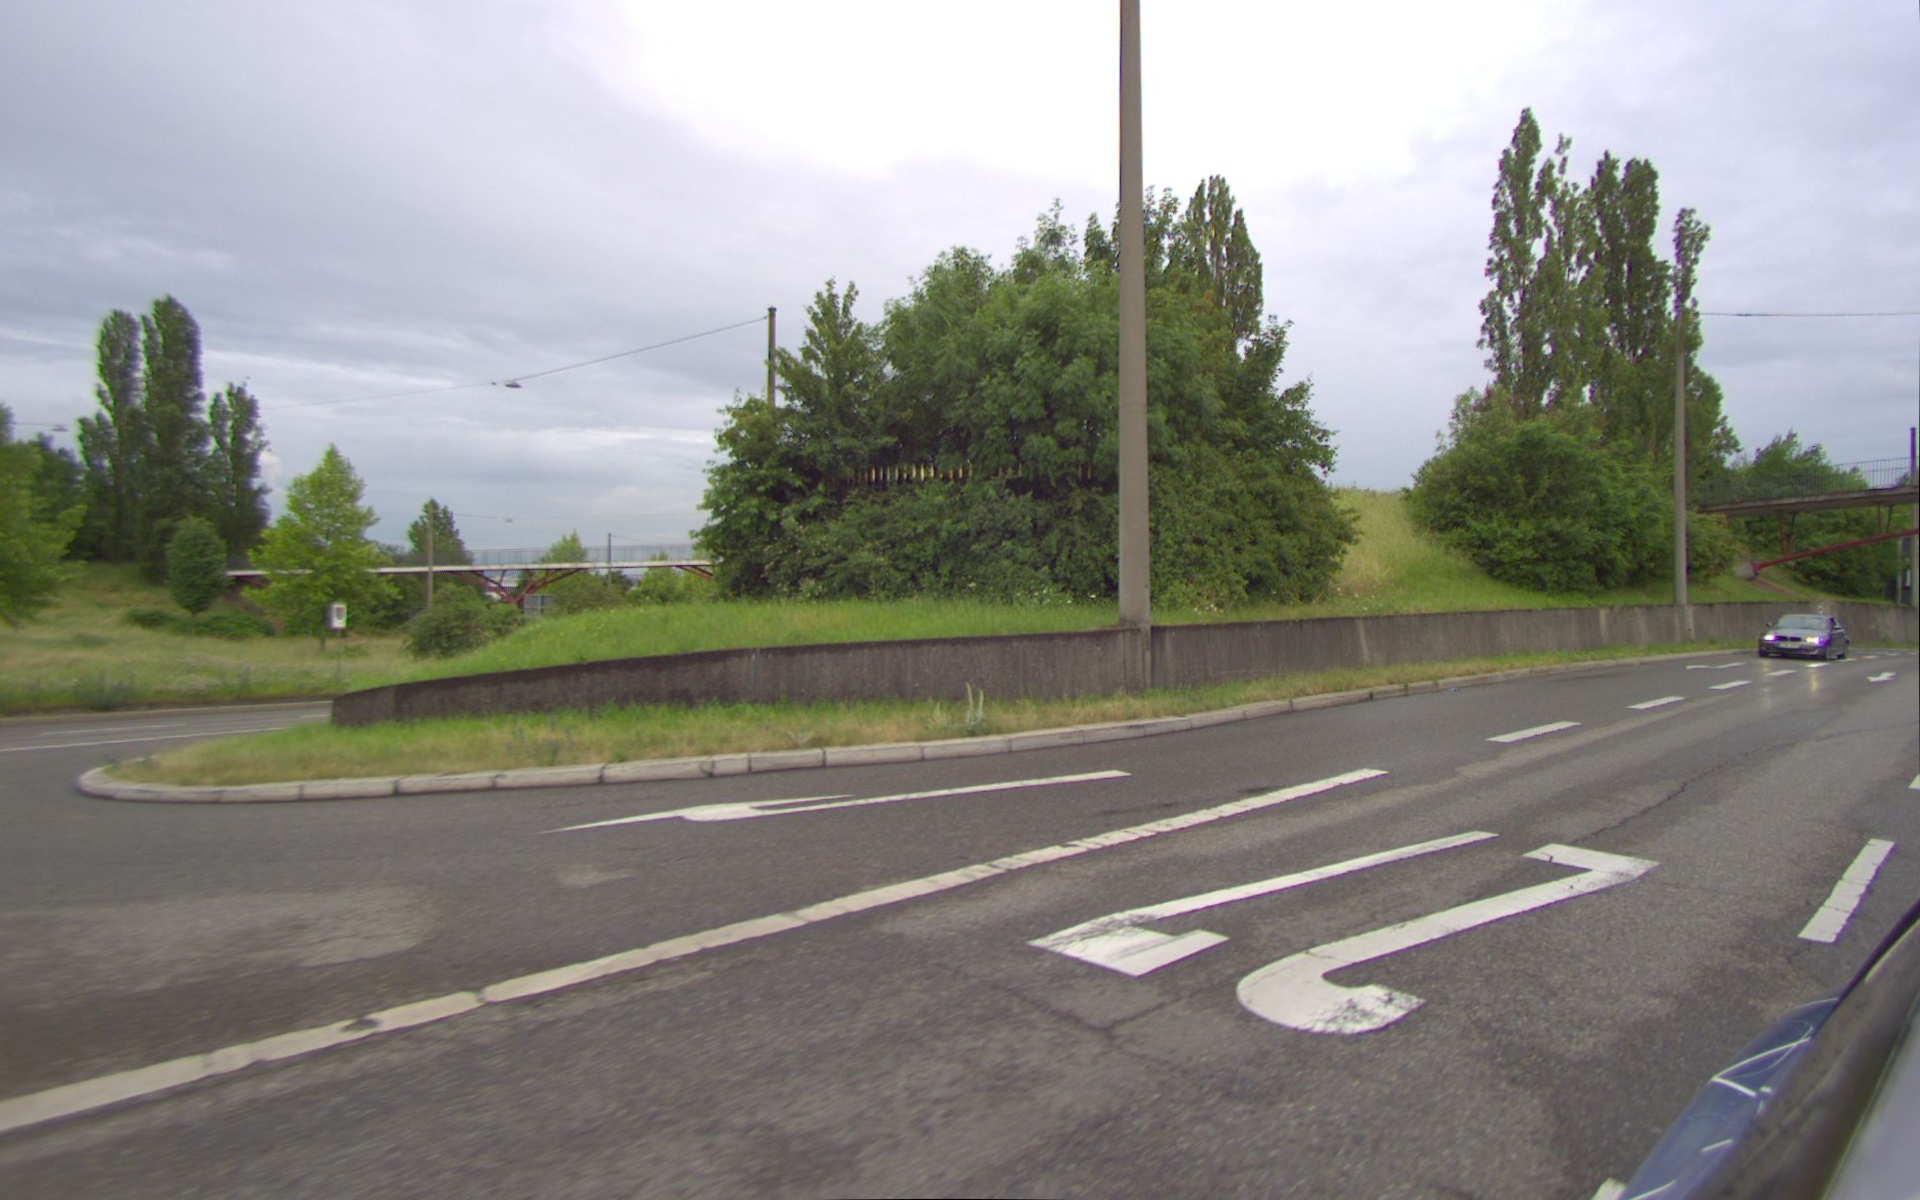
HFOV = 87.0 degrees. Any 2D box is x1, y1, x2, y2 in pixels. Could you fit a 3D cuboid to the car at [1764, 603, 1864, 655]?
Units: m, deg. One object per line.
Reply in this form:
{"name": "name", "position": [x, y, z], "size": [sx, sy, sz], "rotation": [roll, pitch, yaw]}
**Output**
{"name": "car", "position": [27.166, 0.910, 32.148], "size": [3.928, 1.529, 1.809], "rotation": [2, -1, -40]}
